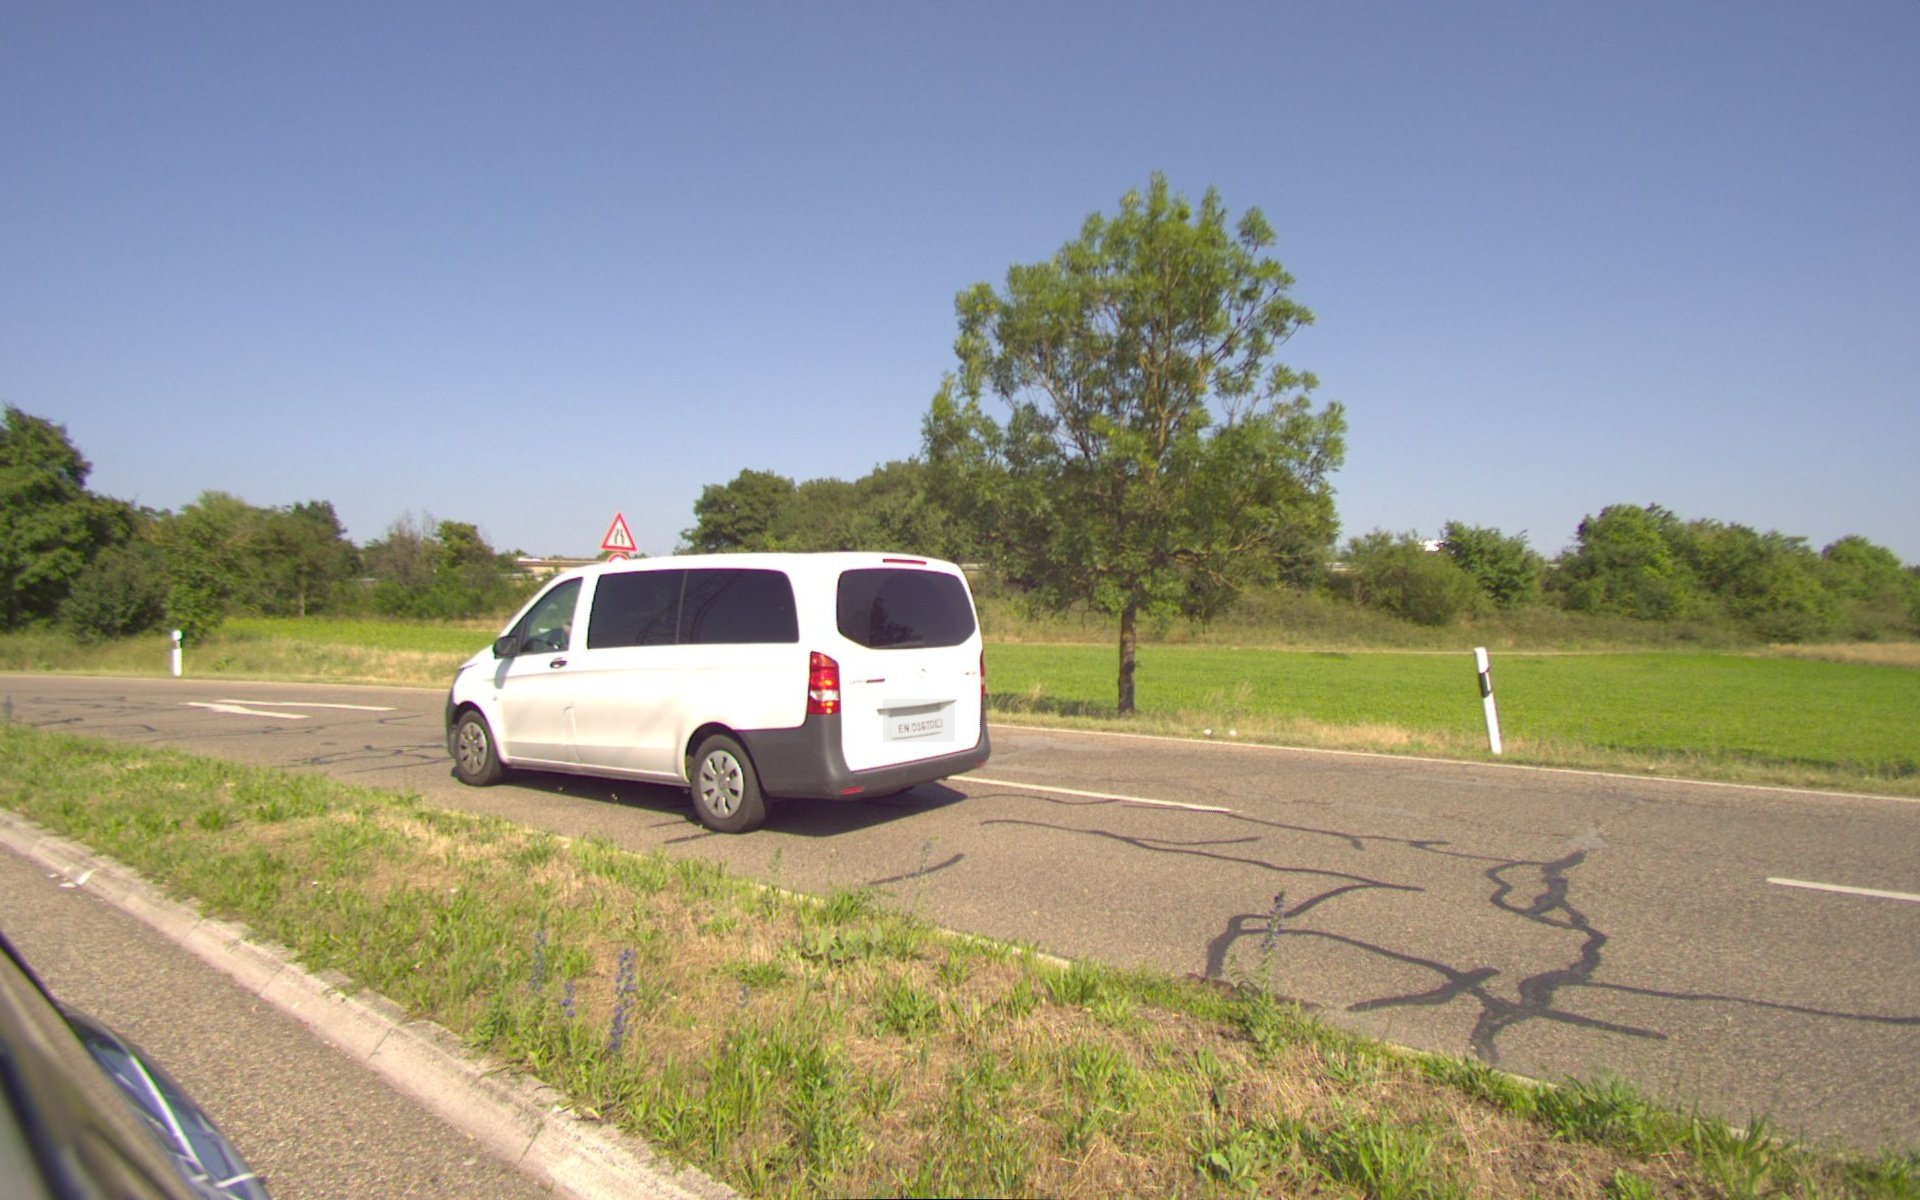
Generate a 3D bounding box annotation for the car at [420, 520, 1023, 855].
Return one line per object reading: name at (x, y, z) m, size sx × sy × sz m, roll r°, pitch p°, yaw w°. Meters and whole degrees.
car at (-2.114, 0.560, 8.115) m, size 4.938 × 1.932 × 1.976 m, roll -2°, pitch -1°, yaw 36°
